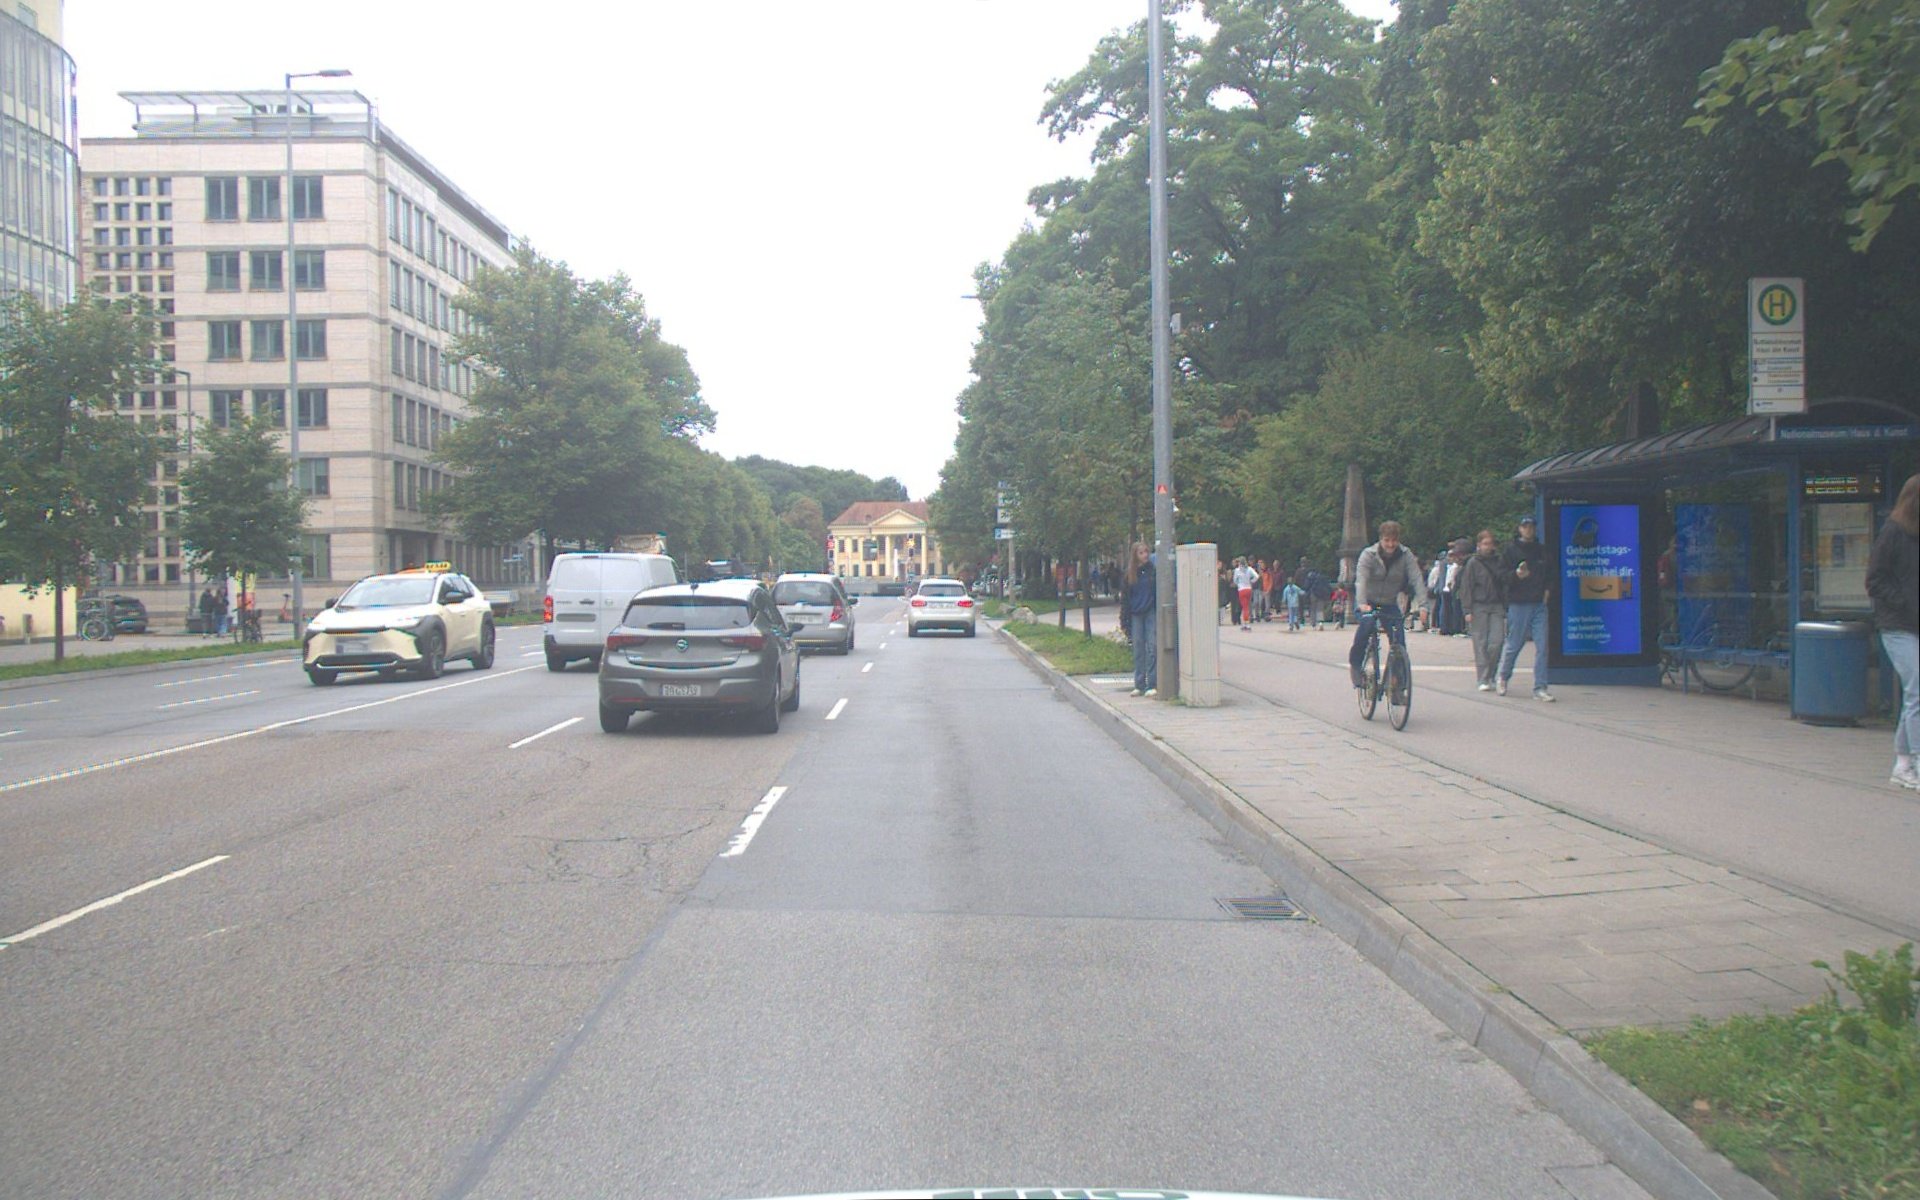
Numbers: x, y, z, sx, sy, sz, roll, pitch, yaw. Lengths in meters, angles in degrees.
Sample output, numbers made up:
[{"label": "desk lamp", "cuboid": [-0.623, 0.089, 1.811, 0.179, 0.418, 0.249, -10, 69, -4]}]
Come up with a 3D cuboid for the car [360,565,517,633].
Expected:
[{"label": "car", "cuboid": [-20.696, -0.036, 65.881, 5.570, 2.581, 2.154, -1, 0, -5]}]

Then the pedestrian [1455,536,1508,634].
[{"label": "pedestrian", "cuboid": [10.143, -0.287, 32.177, 0.795, 1.884, 0.729, 1, 0, 1]}]

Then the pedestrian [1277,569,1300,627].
[{"label": "pedestrian", "cuboid": [7.836, -0.049, 39.504, 0.448, 1.349, 0.648, 1, 0, 4]}]

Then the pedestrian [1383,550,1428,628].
[{"label": "pedestrian", "cuboid": [10.082, -0.251, 37.430, 0.795, 1.720, 0.729, -2, 0, 1]}]

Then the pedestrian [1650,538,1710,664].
[{"label": "pedestrian", "cuboid": [10.422, 0.011, 23.948, 0.623, 1.799, 0.533, 1, 0, 1]}]

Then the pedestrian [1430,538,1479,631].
[{"label": "pedestrian", "cuboid": [10.277, -0.316, 34.405, 0.795, 1.907, 0.729, 1, 0, 1]}]

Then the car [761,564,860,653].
[{"label": "car", "cuboid": [-2.997, 0.149, 33.809, 1.743, 1.683, 3.999, 1, 0, -1]}]

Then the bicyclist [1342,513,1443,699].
[{"label": "bicyclist", "cuboid": [3.791, 0.049, 14.528, 0.693, 1.589, 0.639, 1, 0, -1]}]

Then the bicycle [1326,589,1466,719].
[{"label": "bicycle", "cuboid": [3.771, 0.435, 14.465, 0.661, 1.048, 2.012, 1, 0, -1]}]

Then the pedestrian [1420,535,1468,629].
[{"label": "pedestrian", "cuboid": [10.286, -0.381, 35.151, 0.795, 1.950, 0.729, 1, 0, 1]}]

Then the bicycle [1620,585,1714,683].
[{"label": "bicycle", "cuboid": [8.185, 0.372, 19.200, 0.385, 1.079, 1.576, 1, 0, -1]}]

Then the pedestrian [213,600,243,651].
[{"label": "pedestrian", "cuboid": [-26.235, 0.923, 59.291, 0.668, 1.806, 0.784, 1, 0, 3]}]

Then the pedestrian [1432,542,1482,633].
[{"label": "pedestrian", "cuboid": [10.092, -0.249, 33.622, 0.795, 1.821, 0.729, 1, 0, 1]}]

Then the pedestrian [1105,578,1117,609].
[{"label": "pedestrian", "cuboid": [8.697, -0.381, 95.138, 0.617, 1.805, 0.782, 1, 0, 3]}]

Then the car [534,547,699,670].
[{"label": "car", "cuboid": [-5.721, 0.126, 28.157, 1.860, 1.880, 4.954, -1, 0, -1]}]

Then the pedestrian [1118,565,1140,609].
[{"label": "pedestrian", "cuboid": [6.899, -0.525, 67.528, 0.738, 1.767, 0.850, 1, 0, 14]}]

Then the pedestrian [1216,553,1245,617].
[{"label": "pedestrian", "cuboid": [7.367, -0.400, 45.078, 0.711, 1.720, 0.648, 1, 0, 4]}]

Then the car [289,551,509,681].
[{"label": "car", "cuboid": [-8.618, 0.206, 25.863, 1.819, 1.779, 4.629, -2, 1, -1]}]

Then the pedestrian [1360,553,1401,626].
[{"label": "pedestrian", "cuboid": [10.158, -0.259, 39.981, 0.795, 1.720, 0.729, -2, 0, 1]}]

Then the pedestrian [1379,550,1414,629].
[{"label": "pedestrian", "cuboid": [9.551, -0.231, 36.232, 0.579, 1.720, 0.729, 1, 0, 1]}]

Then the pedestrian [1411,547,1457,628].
[{"label": "pedestrian", "cuboid": [10.283, -0.269, 35.887, 0.795, 1.720, 0.729, 1, 0, 1]}]

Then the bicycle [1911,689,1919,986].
[{"label": "bicycle", "cuboid": [2.878, 0.658, 3.622, 0.483, 0.808, 1.889, 1, 0, -1]}]

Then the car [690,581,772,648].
[{"label": "car", "cuboid": [-6.067, 0.356, 44.268, 1.743, 1.683, 3.999, 1, 0, -2]}]

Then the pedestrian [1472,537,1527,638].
[{"label": "pedestrian", "cuboid": [10.230, -0.235, 31.385, 0.795, 1.884, 0.729, 1, 0, 1]}]

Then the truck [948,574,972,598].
[{"label": "truck", "cuboid": [-0.020, -2.033, 238.679, 3.258, 3.426, 8.661, 1, 0, -1]}]

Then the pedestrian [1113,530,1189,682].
[{"label": "pedestrian", "cuboid": [2.450, 0.071, 21.210, 0.789, 1.914, 0.542, 1, 0, 35]}]

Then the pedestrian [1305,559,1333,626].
[{"label": "pedestrian", "cuboid": [8.477, -0.173, 39.029, 0.538, 1.554, 0.648, 1, 0, 4]}]

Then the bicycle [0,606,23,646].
[{"label": "bicycle", "cuboid": [-24.999, 0.672, 42.920, 0.561, 1.030, 1.592, 1, 0, -4]}]

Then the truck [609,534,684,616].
[{"label": "truck", "cuboid": [-15.457, -1.209, 82.126, 2.859, 3.840, 7.658, 1, 0, -5]}]

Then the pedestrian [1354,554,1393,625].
[{"label": "pedestrian", "cuboid": [10.240, -0.254, 40.966, 0.795, 1.720, 0.729, 1, 0, 1]}]

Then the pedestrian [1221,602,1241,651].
[{"label": "pedestrian", "cuboid": [9.639, 0.939, 58.791, 0.618, 1.696, 0.573, 1, 0, 14]}]

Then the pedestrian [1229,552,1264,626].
[{"label": "pedestrian", "cuboid": [6.709, -0.263, 38.756, 0.711, 1.720, 0.648, 1, 0, 4]}]

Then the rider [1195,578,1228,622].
[{"label": "rider", "cuboid": [6.698, -0.005, 44.124, 0.749, 1.131, 1.245, 1, 0, 4]}]

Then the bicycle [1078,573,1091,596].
[{"label": "bicycle", "cuboid": [5.601, -0.702, 74.372, 0.376, 1.039, 2.079, 1, 0, 0]}]

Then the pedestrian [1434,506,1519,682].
[{"label": "pedestrian", "cuboid": [5.540, -0.065, 17.763, 0.693, 1.840, 0.639, 1, 0, -1]}]

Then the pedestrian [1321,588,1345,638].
[{"label": "pedestrian", "cuboid": [8.772, 0.299, 38.893, 0.448, 1.173, 0.648, 1, 0, 4]}]

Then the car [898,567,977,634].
[{"label": "car", "cuboid": [-0.634, -0.006, 43.973, 1.745, 1.673, 3.995, 1, 0, -6]}]

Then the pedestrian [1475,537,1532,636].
[{"label": "pedestrian", "cuboid": [10.042, -0.241, 30.581, 0.795, 1.799, 0.729, 1, 0, 1]}]

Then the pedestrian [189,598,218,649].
[{"label": "pedestrian", "cuboid": [-26.999, 0.841, 59.028, 0.668, 1.806, 0.675, 1, 0, 3]}]

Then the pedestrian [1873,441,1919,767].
[{"label": "pedestrian", "cuboid": [6.075, 0.027, 9.869, 0.693, 1.949, 0.956, 1, 0, -1]}]

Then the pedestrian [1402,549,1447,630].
[{"label": "pedestrian", "cuboid": [10.286, -0.226, 36.632, 0.795, 1.769, 0.729, 1, 0, 1]}]

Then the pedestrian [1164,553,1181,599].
[{"label": "pedestrian", "cuboid": [8.772, -0.984, 68.314, 0.576, 1.854, 0.850, 1, 0, 0]}]

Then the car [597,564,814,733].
[{"label": "car", "cuboid": [-2.576, 0.448, 17.604, 1.675, 1.579, 4.000, 1, 0, 0]}]

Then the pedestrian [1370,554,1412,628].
[{"label": "pedestrian", "cuboid": [10.205, -0.218, 39.190, 0.795, 1.720, 0.729, -1, 0, 1]}]

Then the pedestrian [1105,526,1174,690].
[{"label": "pedestrian", "cuboid": [2.052, 0.085, 18.935, 0.693, 1.840, 0.639, 1, 0, -1]}]

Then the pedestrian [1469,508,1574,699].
[{"label": "pedestrian", "cuboid": [5.586, 0.031, 16.487, 0.693, 1.840, 0.950, 1, 0, -1]}]

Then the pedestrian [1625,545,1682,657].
[{"label": "pedestrian", "cuboid": [10.351, 0.014, 24.687, 0.623, 1.655, 0.533, 1, 0, 1]}]

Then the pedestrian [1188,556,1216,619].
[{"label": "pedestrian", "cuboid": [6.606, -0.339, 45.195, 0.711, 1.720, 0.648, 1, 0, 4]}]

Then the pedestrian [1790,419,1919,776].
[{"label": "pedestrian", "cuboid": [5.375, -0.012, 9.518, 0.693, 1.949, 0.956, 1, 0, -1]}]

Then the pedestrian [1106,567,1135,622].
[{"label": "pedestrian", "cuboid": [4.885, -0.167, 50.174, 0.738, 1.672, 0.850, 1, 0, 14]}]

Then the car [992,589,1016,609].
[{"label": "car", "cuboid": [3.371, -0.072, 128.123, 1.689, 1.490, 4.775, -1, 0, 0]}]

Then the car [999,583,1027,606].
[{"label": "car", "cuboid": [3.677, -0.369, 115.933, 1.790, 1.577, 4.751, -1, 0, 0]}]

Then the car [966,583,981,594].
[{"label": "car", "cuboid": [1.643, -1.360, 200.639, 1.689, 1.347, 4.027, -1, 0, 0]}]

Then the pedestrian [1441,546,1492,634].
[{"label": "pedestrian", "cuboid": [10.067, -0.202, 32.898, 0.795, 1.720, 0.674, 1, 0, 1]}]
